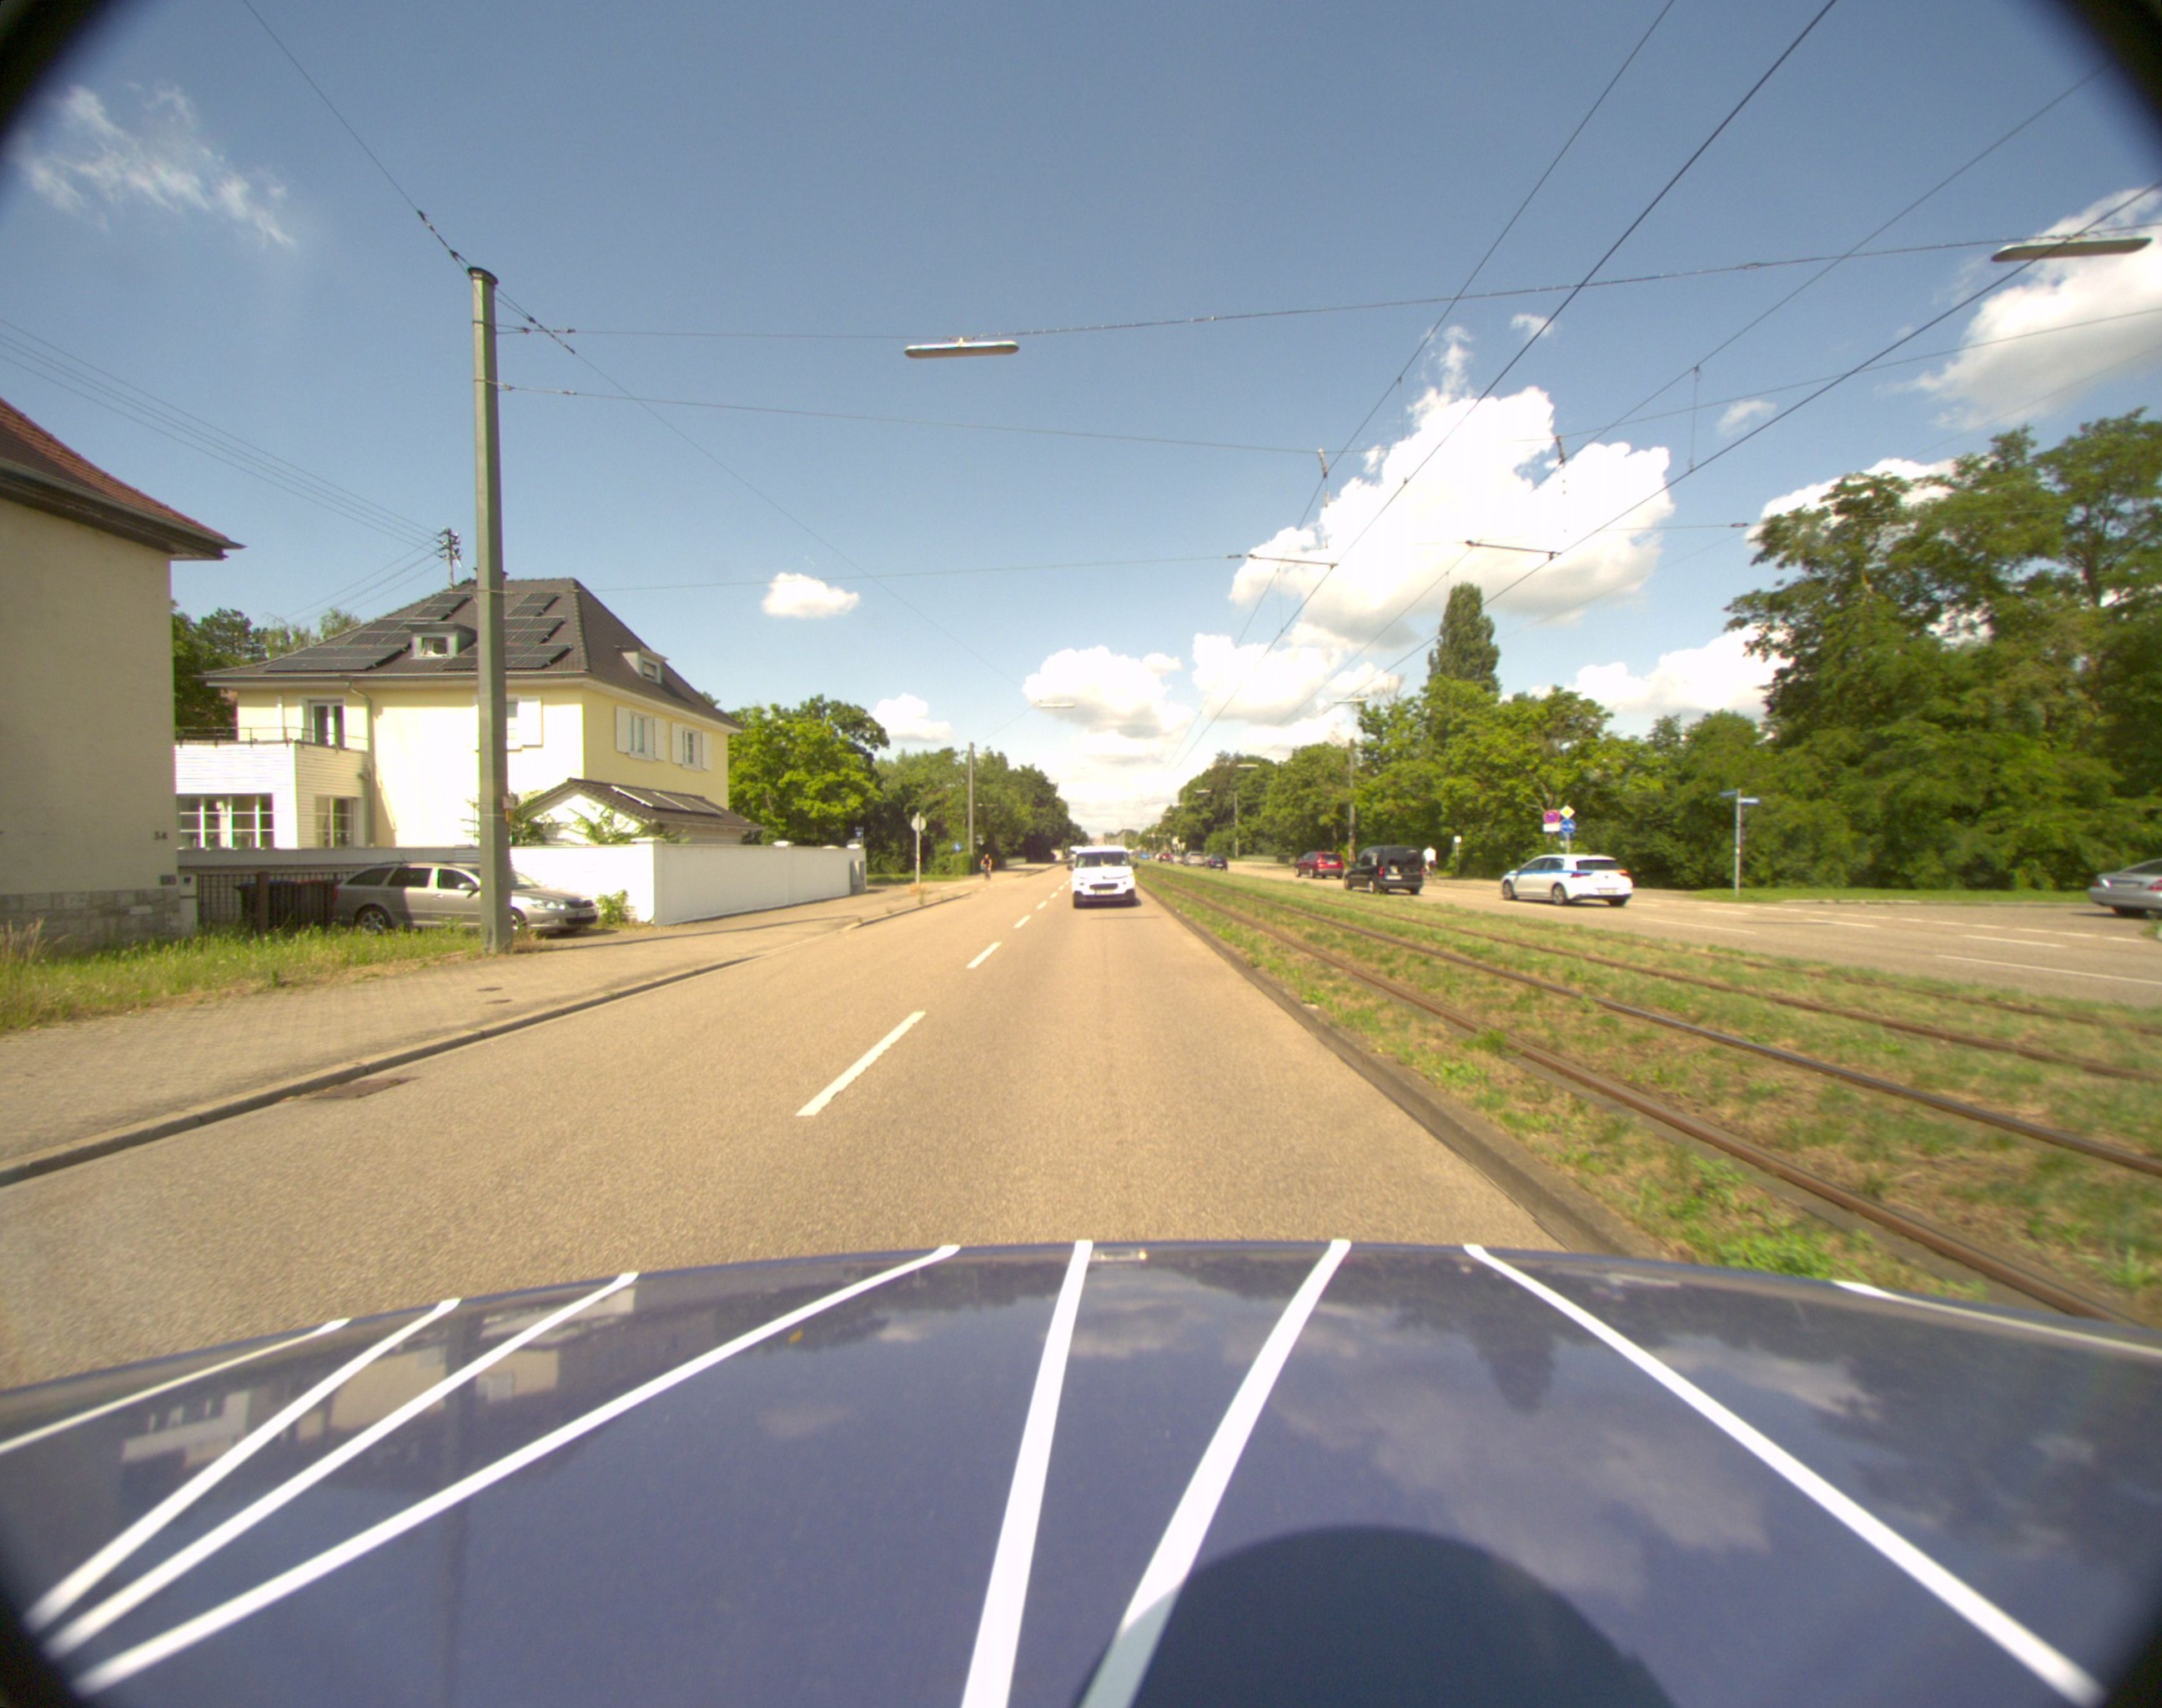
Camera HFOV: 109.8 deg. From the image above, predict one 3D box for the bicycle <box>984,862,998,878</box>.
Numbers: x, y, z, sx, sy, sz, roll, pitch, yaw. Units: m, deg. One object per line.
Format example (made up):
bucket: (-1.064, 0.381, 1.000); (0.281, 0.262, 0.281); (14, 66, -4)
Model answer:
bicycle: (-6.111, 1.077, 51.682); (0.556, 1.059, 1.524); (-1, 1, 7)

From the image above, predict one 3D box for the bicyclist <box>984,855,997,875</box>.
bicyclist: (-6.148, 0.714, 51.638); (0.690, 1.345, 0.665); (-1, 1, 7)

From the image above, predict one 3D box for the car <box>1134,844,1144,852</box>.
car: (15.051, -1.499, 196.757); (1.999, 2.002, 3.999); (-2, 1, -1)

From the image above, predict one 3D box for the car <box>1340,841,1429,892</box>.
car: (11.126, 0.413, 28.169); (1.690, 1.736, 4.227); (-1, 0, 1)

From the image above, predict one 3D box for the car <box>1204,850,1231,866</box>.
car: (11.931, 0.315, 66.624); (1.731, 1.386, 4.277); (-1, 0, 2)

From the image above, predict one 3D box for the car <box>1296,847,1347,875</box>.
car: (14.413, 0.371, 45.768); (1.732, 1.570, 4.276); (-1, 0, 0)

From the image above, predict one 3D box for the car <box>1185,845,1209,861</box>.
car: (12.642, -0.141, 83.252); (2.121, 1.642, 4.277); (-1, 0, 2)

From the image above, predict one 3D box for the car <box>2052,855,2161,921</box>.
car: (25.489, 0.724, 17.018); (4.466, 1.397, 2.001); (-1, 1, 8)

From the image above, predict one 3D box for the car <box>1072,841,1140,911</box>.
car: (0.650, 0.590, 22.931); (1.778, 1.850, 4.374); (-2, 1, -1)

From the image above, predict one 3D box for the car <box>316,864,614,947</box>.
car: (-11.961, 0.959, 14.962); (4.460, 1.452, 1.763); (1, 1, 1)

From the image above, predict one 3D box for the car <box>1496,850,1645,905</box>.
car: (14.146, 0.618, 22.287); (1.690, 1.422, 4.276); (-1, 0, 1)

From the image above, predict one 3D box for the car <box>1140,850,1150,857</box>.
car: (14.402, -0.168, 170.516); (2.121, 1.642, 4.277); (-1, 0, 2)

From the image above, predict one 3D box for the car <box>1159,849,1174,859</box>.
car: (13.697, -0.033, 122.251); (2.121, 1.642, 4.277); (-1, 0, 2)

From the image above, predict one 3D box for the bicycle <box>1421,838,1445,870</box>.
bicycle: (18.501, 0.007, 39.927); (0.801, 1.675, 0.952); (-1, 1, 1)

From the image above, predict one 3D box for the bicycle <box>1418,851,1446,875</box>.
bicycle: (18.497, 0.463, 40.039); (0.643, 1.181, 1.956); (-1, 1, 2)

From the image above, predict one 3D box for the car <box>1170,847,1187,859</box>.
car: (13.167, -0.117, 103.073); (1.921, 1.642, 4.277); (-1, 0, 2)
